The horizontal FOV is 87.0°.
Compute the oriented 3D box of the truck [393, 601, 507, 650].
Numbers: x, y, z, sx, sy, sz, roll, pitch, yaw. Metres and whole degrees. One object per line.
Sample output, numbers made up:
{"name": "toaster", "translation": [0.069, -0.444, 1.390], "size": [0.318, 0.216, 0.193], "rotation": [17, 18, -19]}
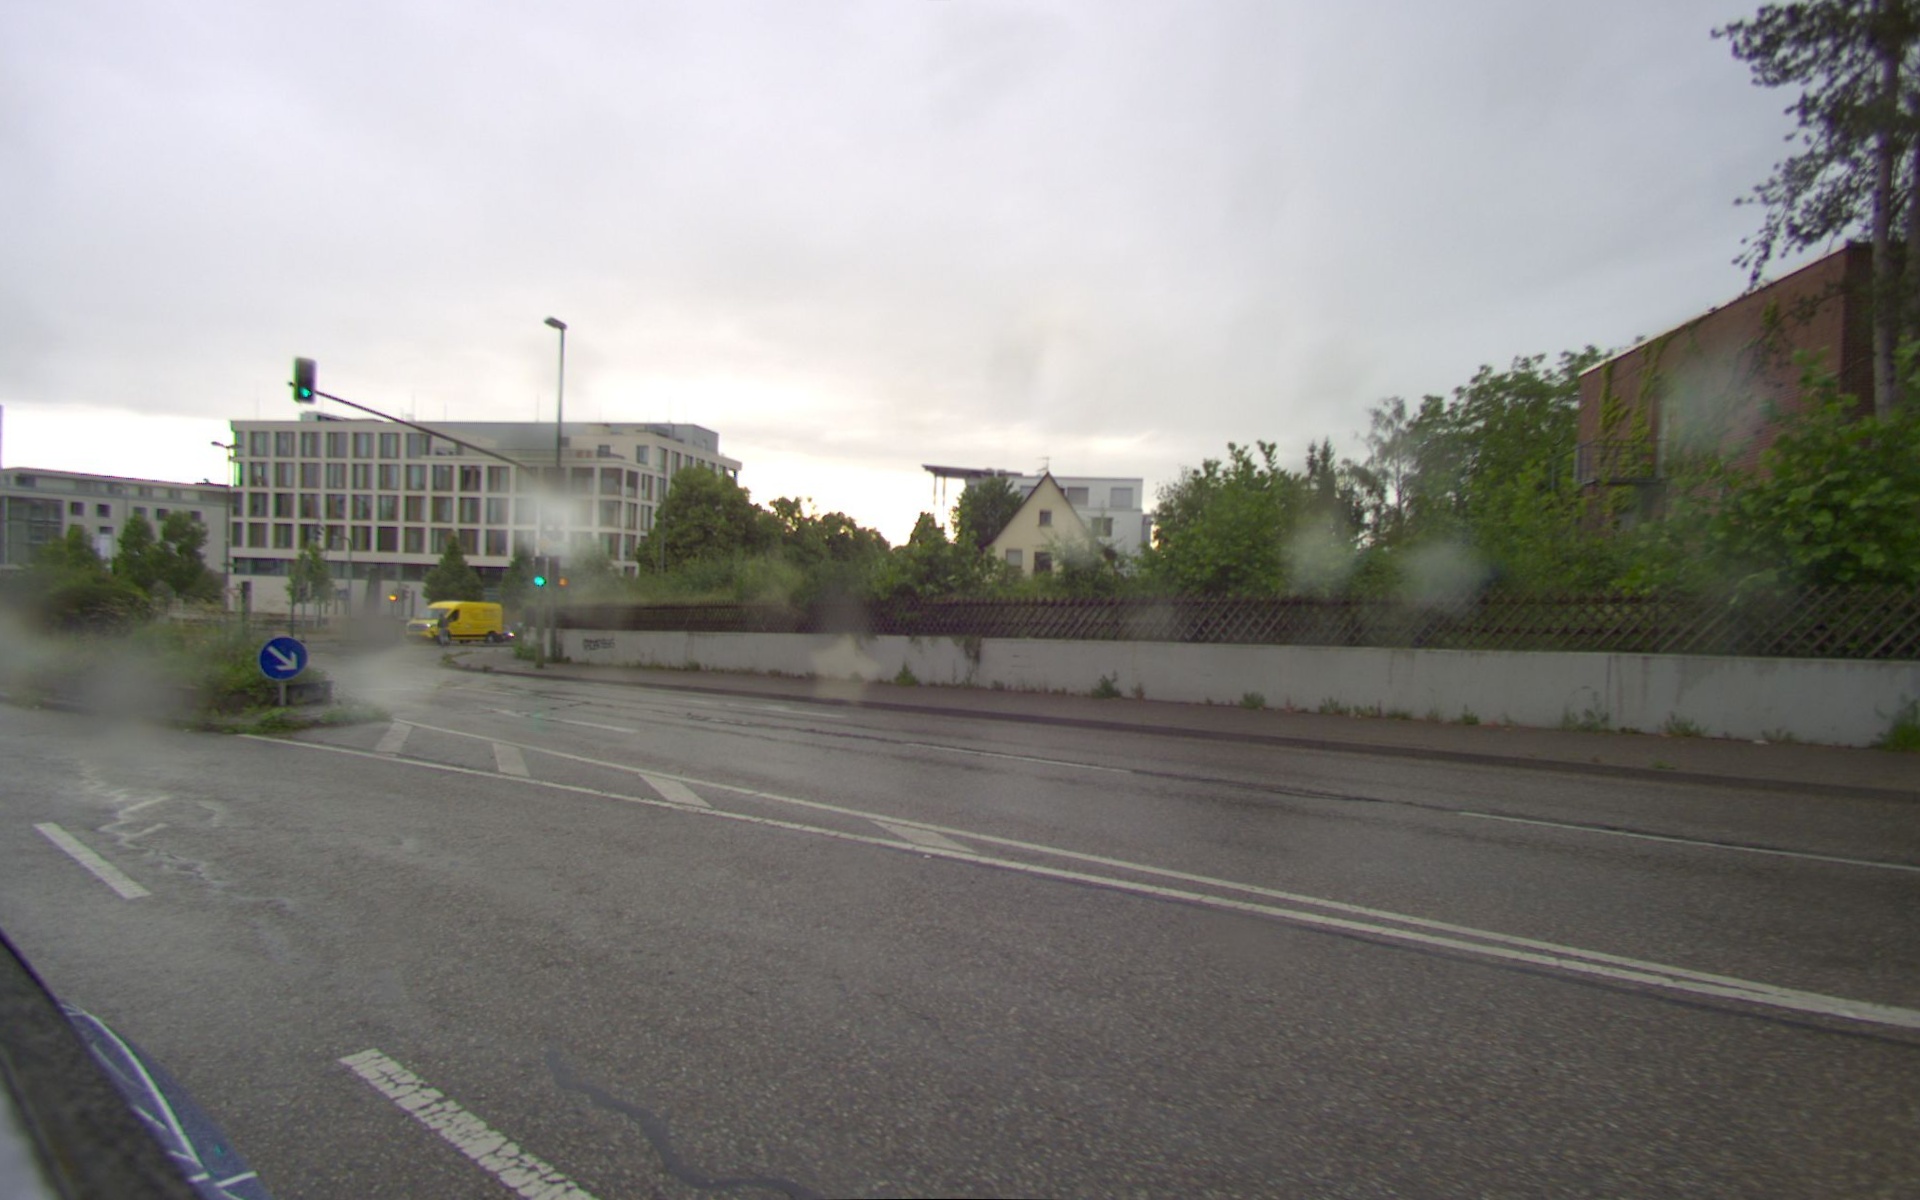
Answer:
{"name": "truck", "translation": [-28.917, 1.491, 57.693], "size": [2.207, 2.557, 6.146], "rotation": [1, -2, 14]}

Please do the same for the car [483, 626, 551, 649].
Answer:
{"name": "car", "translation": [-28.260, 2.385, 64.689], "size": [1.845, 1.327, 4.342], "rotation": [2, -2, 10]}
